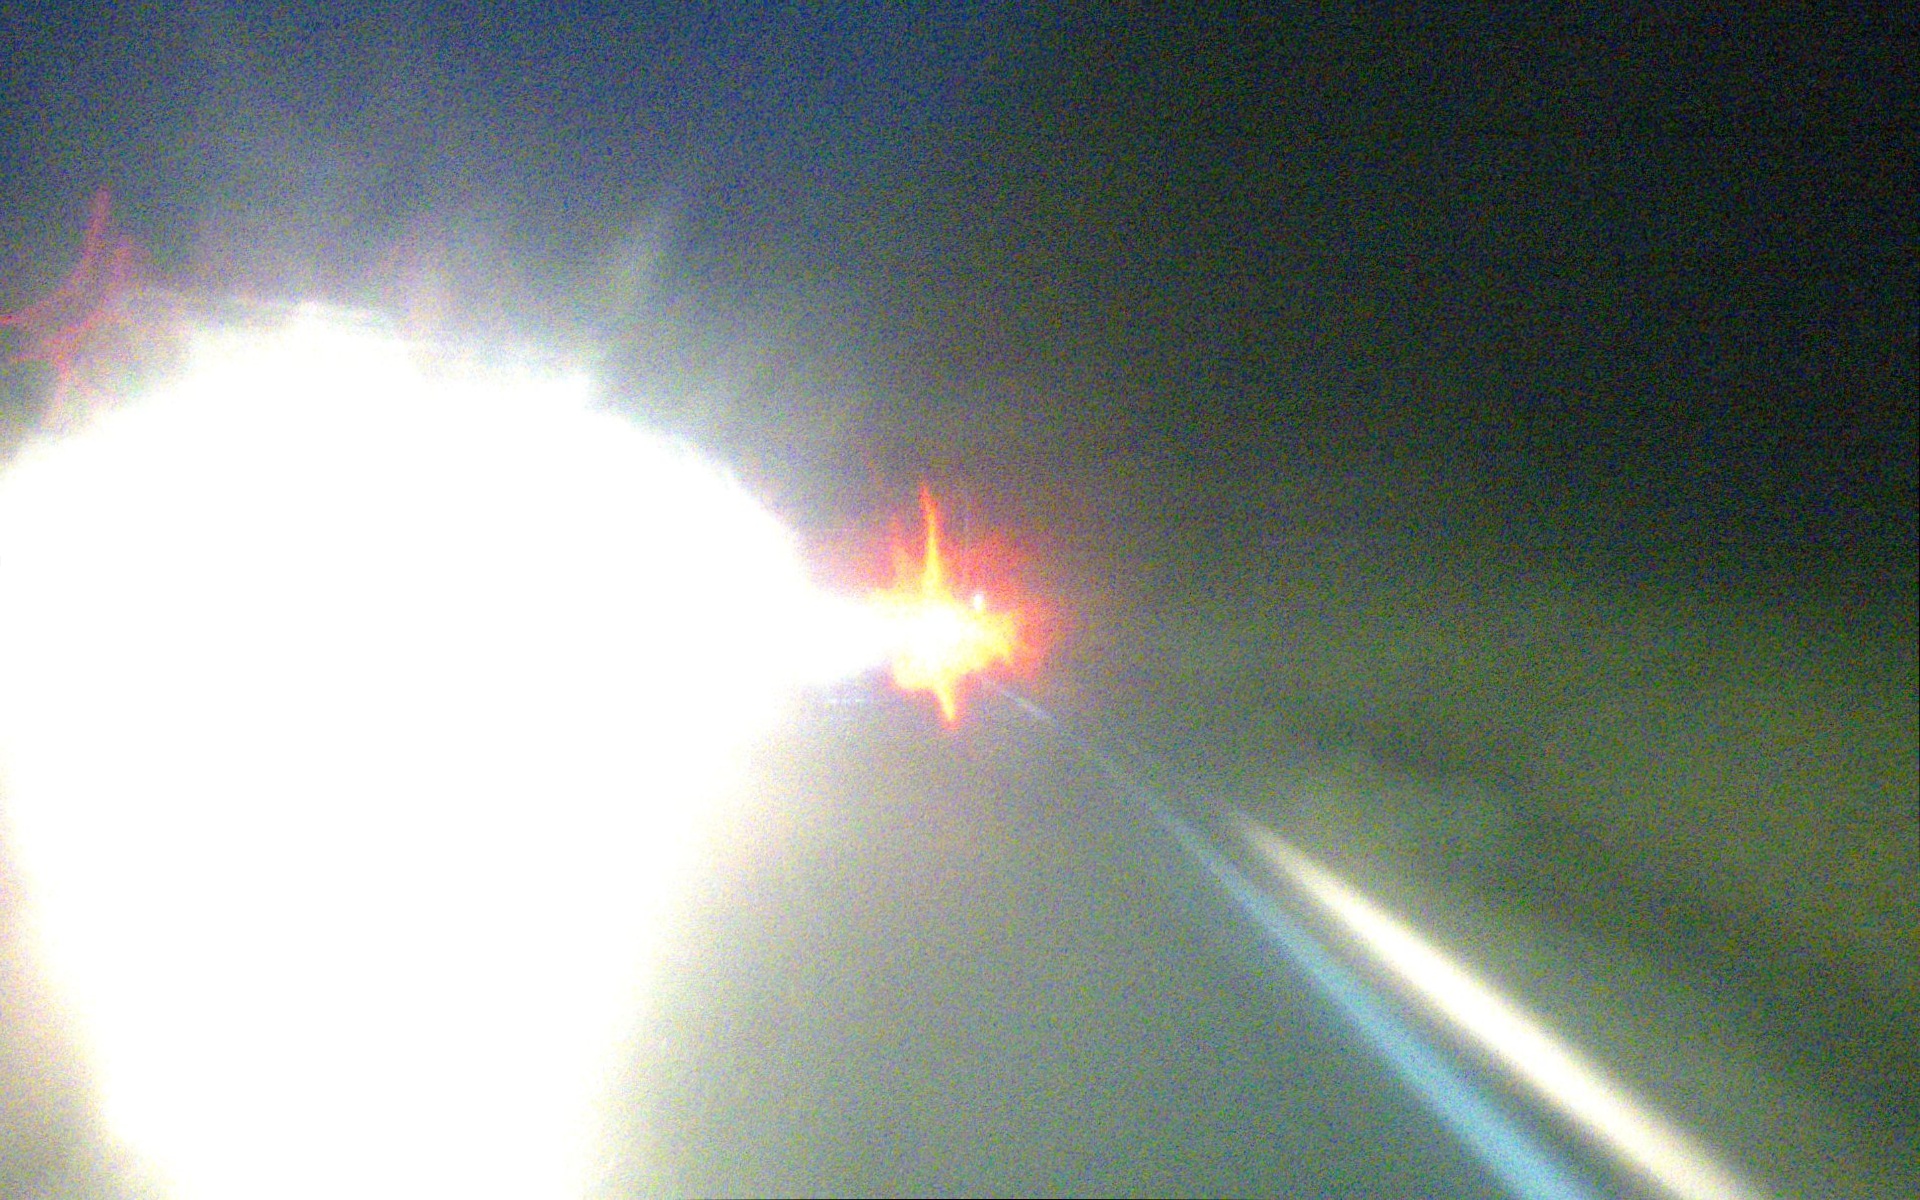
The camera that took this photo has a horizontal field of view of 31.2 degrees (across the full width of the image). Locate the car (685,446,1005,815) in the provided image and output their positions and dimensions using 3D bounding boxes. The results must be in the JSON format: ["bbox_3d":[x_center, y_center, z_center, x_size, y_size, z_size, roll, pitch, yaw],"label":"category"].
[{"bbox_3d":[-0.907,0.144,26.848,2.181,2.548,4.508,2,2,-2],"label":"car"}]

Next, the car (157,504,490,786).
[{"bbox_3d":[-4.937,0.293,27.272,1.993,2.007,4.457,-1,1,-3],"label":"car"}]
